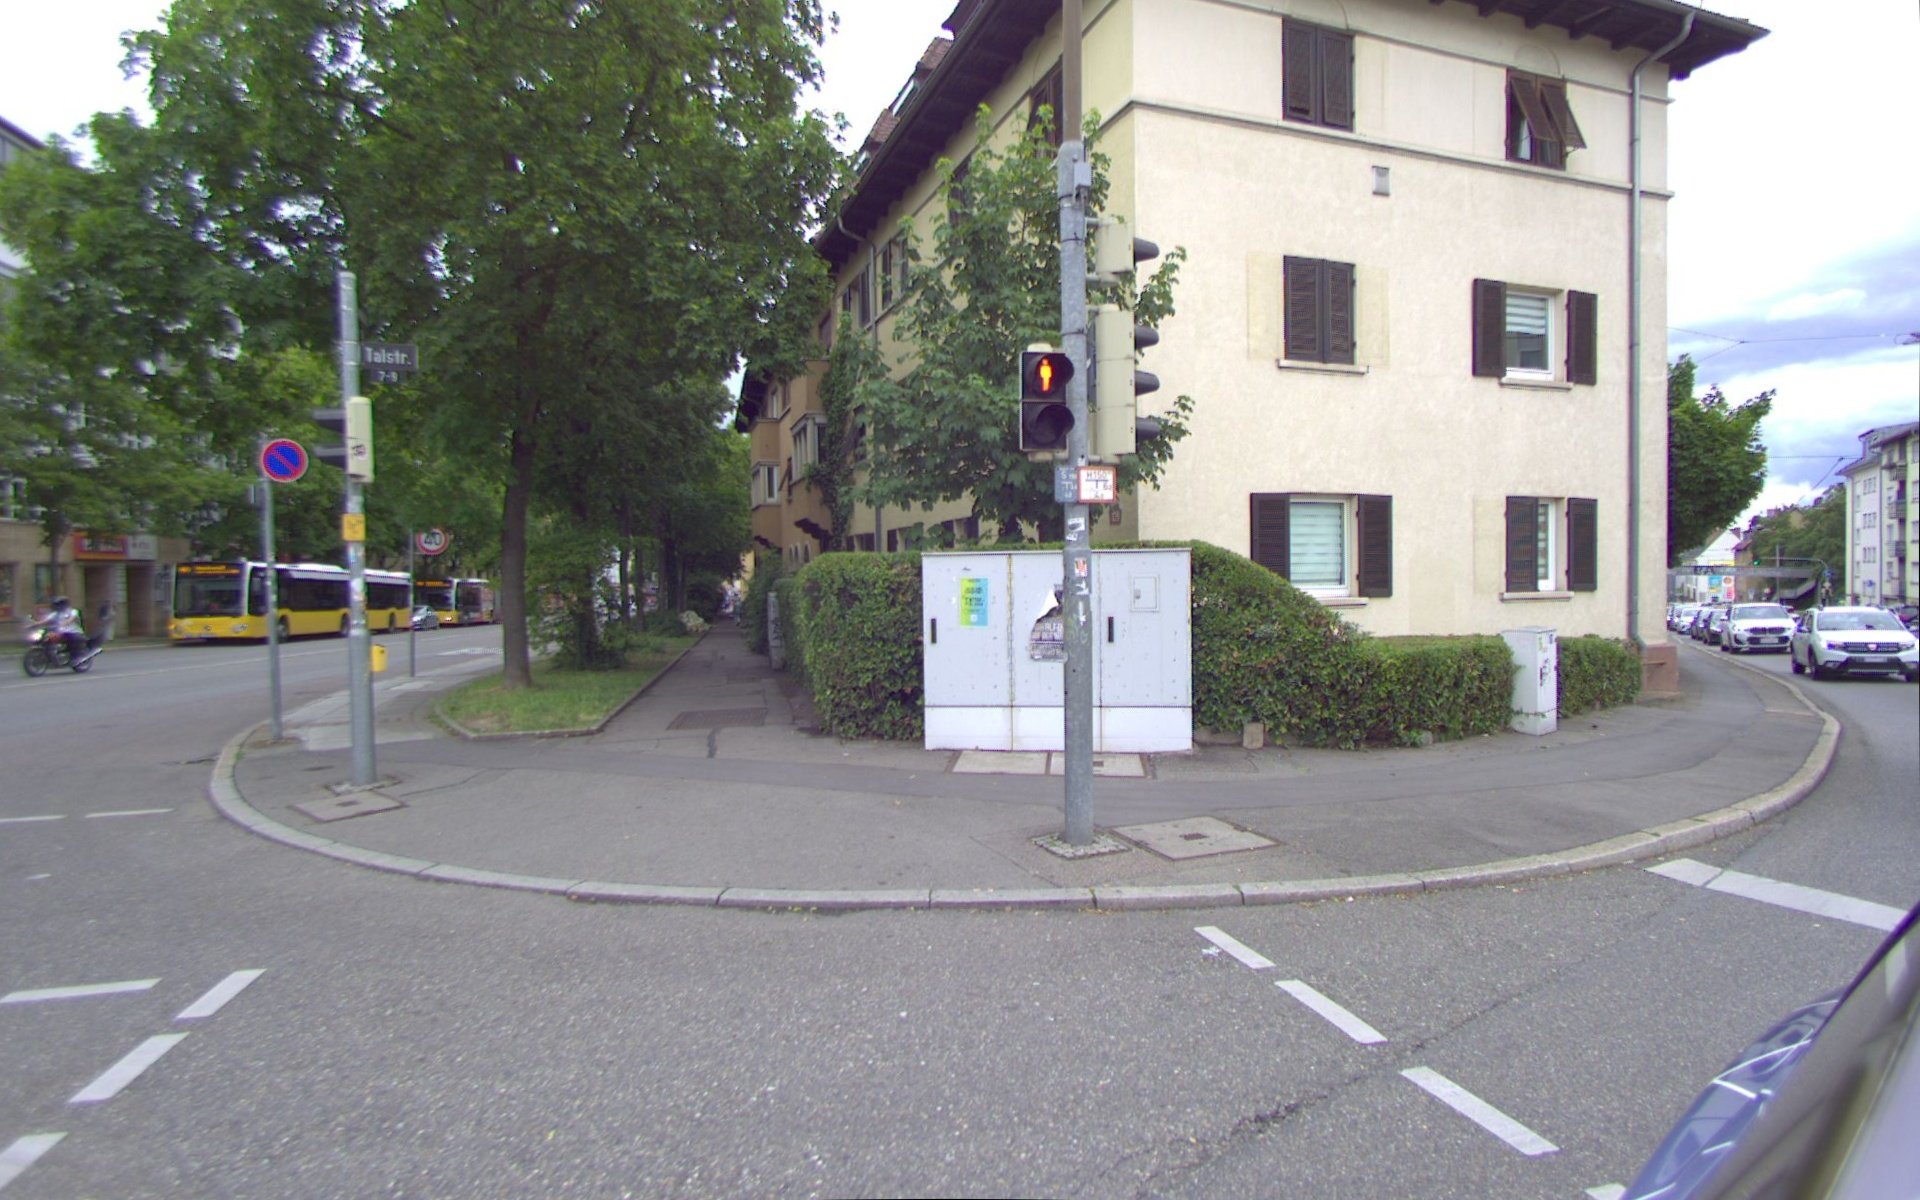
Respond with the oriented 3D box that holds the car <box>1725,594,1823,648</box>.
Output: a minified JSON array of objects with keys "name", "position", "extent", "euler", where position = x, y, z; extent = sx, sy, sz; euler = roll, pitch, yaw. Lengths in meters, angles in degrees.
[{"name":"car","position":[26.474,0.639,33.043],"extent":[1.884,1.665,3.957],"euler":[0,0,30]}]

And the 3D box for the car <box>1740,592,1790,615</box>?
[{"name":"car","position":[49.342,0.196,62.135],"extent":[1.868,1.372,4.100],"euler":[-2,0,32]}]

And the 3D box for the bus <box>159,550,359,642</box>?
[{"name":"bus","position":[-27.054,-0.165,39.830],"extent":[2.803,3.148,10.421],"euler":[0,0,-13]}]

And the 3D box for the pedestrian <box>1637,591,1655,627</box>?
[{"name":"pedestrian","position":[35.463,0.464,52.352],"extent":[0.640,1.864,0.588],"euler":[0,-1,22]}]

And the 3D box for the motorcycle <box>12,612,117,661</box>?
[{"name":"motorcycle","position":[-19.749,0.772,22.397],"extent":[0.625,1.000,2.401],"euler":[0,0,-12]}]

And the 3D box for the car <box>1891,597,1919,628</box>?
[{"name":"car","position":[51.836,0.666,54.460],"extent":[1.761,1.621,3.503],"euler":[2,1,30]}]

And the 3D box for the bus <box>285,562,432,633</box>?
[{"name":"bus","position":[-29.292,-0.130,49.981],"extent":[2.820,3.088,10.950],"euler":[0,0,-12]}]

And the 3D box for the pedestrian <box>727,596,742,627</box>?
[{"name":"pedestrian","position":[-13.056,0.645,58.590],"extent":[0.761,1.798,0.662],"euler":[0,0,-16]}]

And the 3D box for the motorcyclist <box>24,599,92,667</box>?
[{"name":"motorcyclist","position":[-19.714,0.707,22.148],"extent":[0.694,1.436,1.012],"euler":[0,0,-11]}]

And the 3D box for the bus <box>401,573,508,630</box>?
[{"name":"bus","position":[-32.766,0.051,66.331],"extent":[3.373,3.384,12.861],"euler":[0,0,-13]}]

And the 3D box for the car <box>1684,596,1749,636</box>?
[{"name":"car","position":[33.035,0.697,44.302],"extent":[1.886,1.601,3.954],"euler":[1,0,32]}]

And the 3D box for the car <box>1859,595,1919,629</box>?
[{"name":"car","position":[42.496,0.518,46.286],"extent":[1.593,1.465,3.486],"euler":[1,1,35]}]

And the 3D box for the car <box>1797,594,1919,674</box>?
[{"name":"car","position":[19.330,0.667,21.618],"extent":[1.888,1.529,4.114],"euler":[-2,-1,35]}]
